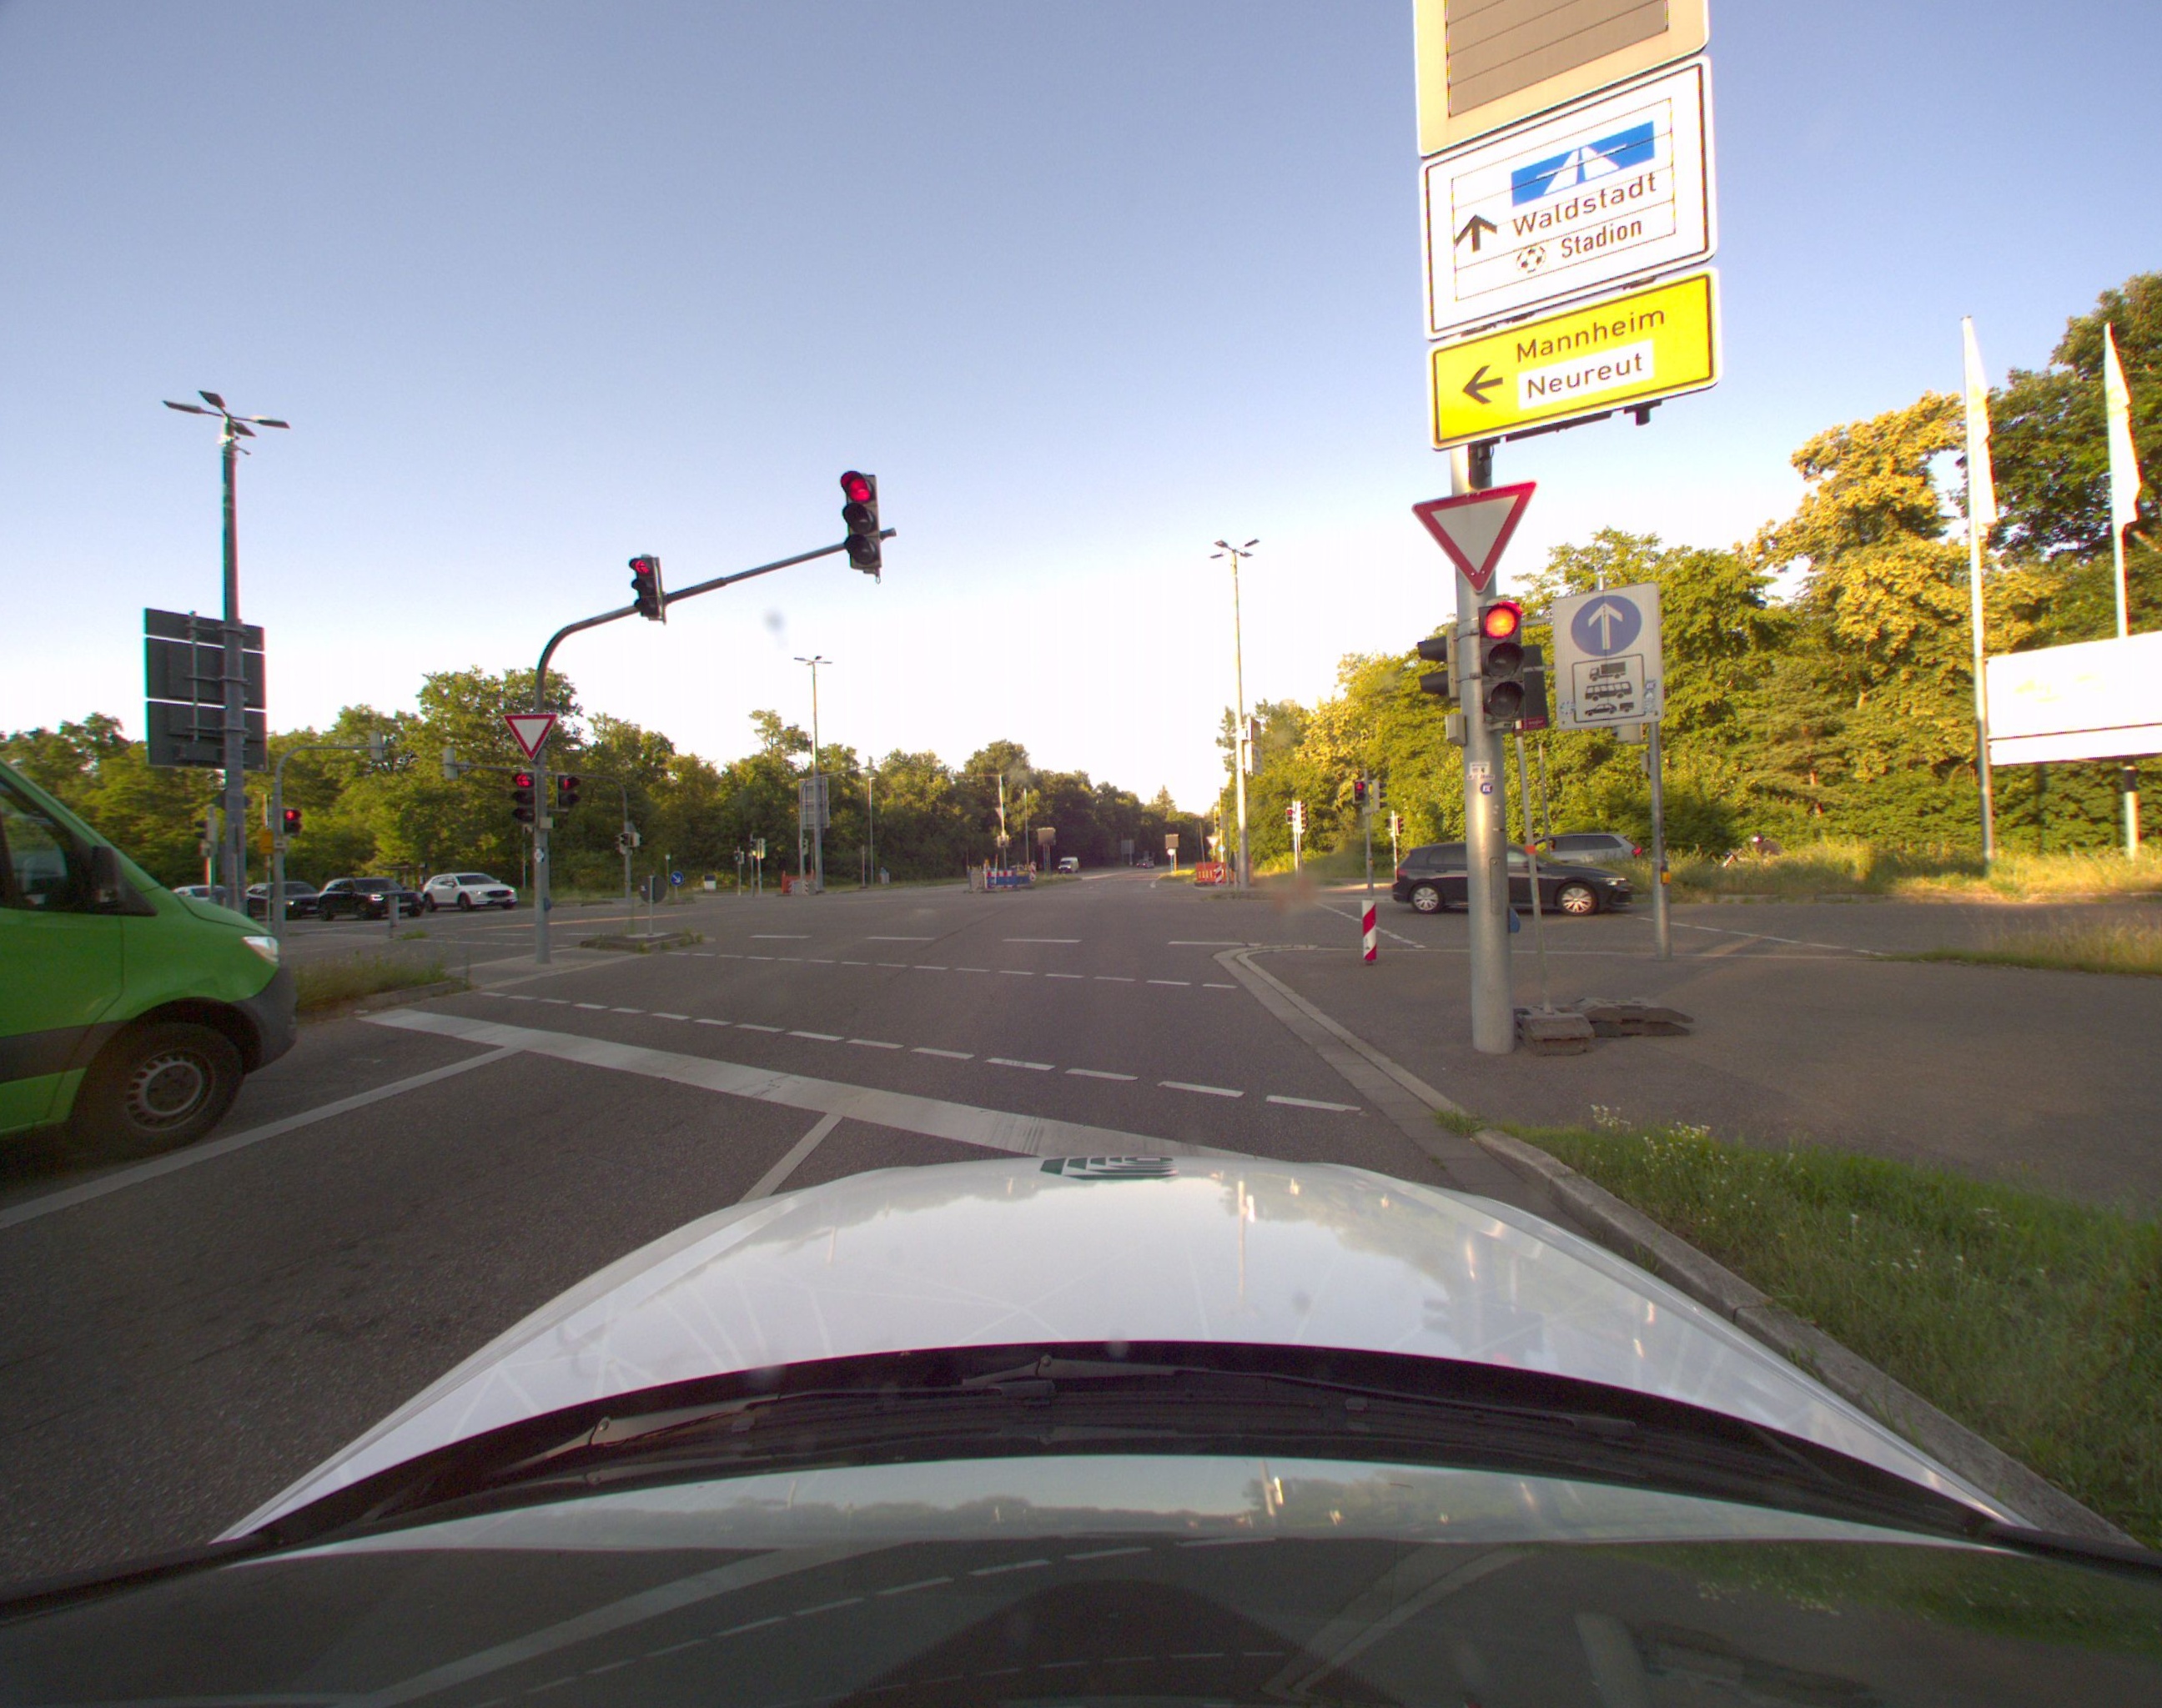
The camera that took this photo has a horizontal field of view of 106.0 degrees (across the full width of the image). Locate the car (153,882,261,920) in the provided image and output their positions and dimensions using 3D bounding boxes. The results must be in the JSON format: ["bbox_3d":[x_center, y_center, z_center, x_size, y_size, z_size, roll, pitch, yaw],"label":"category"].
[{"bbox_3d":[-41.261,2.205,38.471,4.207,1.640,2.011,-2,0,21],"label":"car"}]

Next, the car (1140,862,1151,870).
[{"bbox_3d":[15.109,2.822,190.318,1.979,1.640,4.016,-2,0,14],"label":"car"}]

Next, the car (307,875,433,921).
[{"bbox_3d":[-27.558,1.693,31.554,4.206,1.640,2.011,-2,0,23],"label":"car"}]

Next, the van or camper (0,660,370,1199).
[{"bbox_3d":[-5.864,0.358,2.555,1.987,2.421,5.896,-2,0,1],"label":"van or camper"}]

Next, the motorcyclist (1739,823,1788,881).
[{"bbox_3d":[19.269,-0.046,23.008,0.878,1.595,0.658,-2,-1,23],"label":"motorcyclist"}]

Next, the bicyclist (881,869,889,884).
[{"bbox_3d":[-18.270,2.123,75.990,0.522,1.387,0.402,-1,-1,-40],"label":"bicyclist"}]

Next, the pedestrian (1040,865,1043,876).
[{"bbox_3d":[-6.946,2.910,144.529,0.519,2.014,0.600,0,-1,2],"label":"pedestrian"}]

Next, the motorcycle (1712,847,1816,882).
[{"bbox_3d":[19.253,0.296,23.021,2.125,0.910,0.666,-2,-1,23],"label":"motorcycle"}]

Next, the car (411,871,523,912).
[{"bbox_3d":[-26.764,1.637,35.494,4.206,1.640,2.011,-2,0,23],"label":"car"}]

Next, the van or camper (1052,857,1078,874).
[{"bbox_3d":[-2.603,1.831,134.402,2.867,2.652,7.142,-2,0,10],"label":"van or camper"}]

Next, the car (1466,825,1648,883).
[{"bbox_3d":[15.026,0.023,26.072,4.773,1.598,2.011,-2,0,23],"label":"car"}]

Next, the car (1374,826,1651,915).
[{"bbox_3d":[8.520,0.337,16.244,4.617,1.530,2.013,-2,0,35],"label":"car"}]

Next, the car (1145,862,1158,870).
[{"bbox_3d":[14.917,2.511,171.945,1.979,1.640,4.016,-3,0,14],"label":"car"}]

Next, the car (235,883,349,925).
[{"bbox_3d":[-33.929,2.149,35.030,4.205,1.640,2.011,-2,0,23],"label":"car"}]
